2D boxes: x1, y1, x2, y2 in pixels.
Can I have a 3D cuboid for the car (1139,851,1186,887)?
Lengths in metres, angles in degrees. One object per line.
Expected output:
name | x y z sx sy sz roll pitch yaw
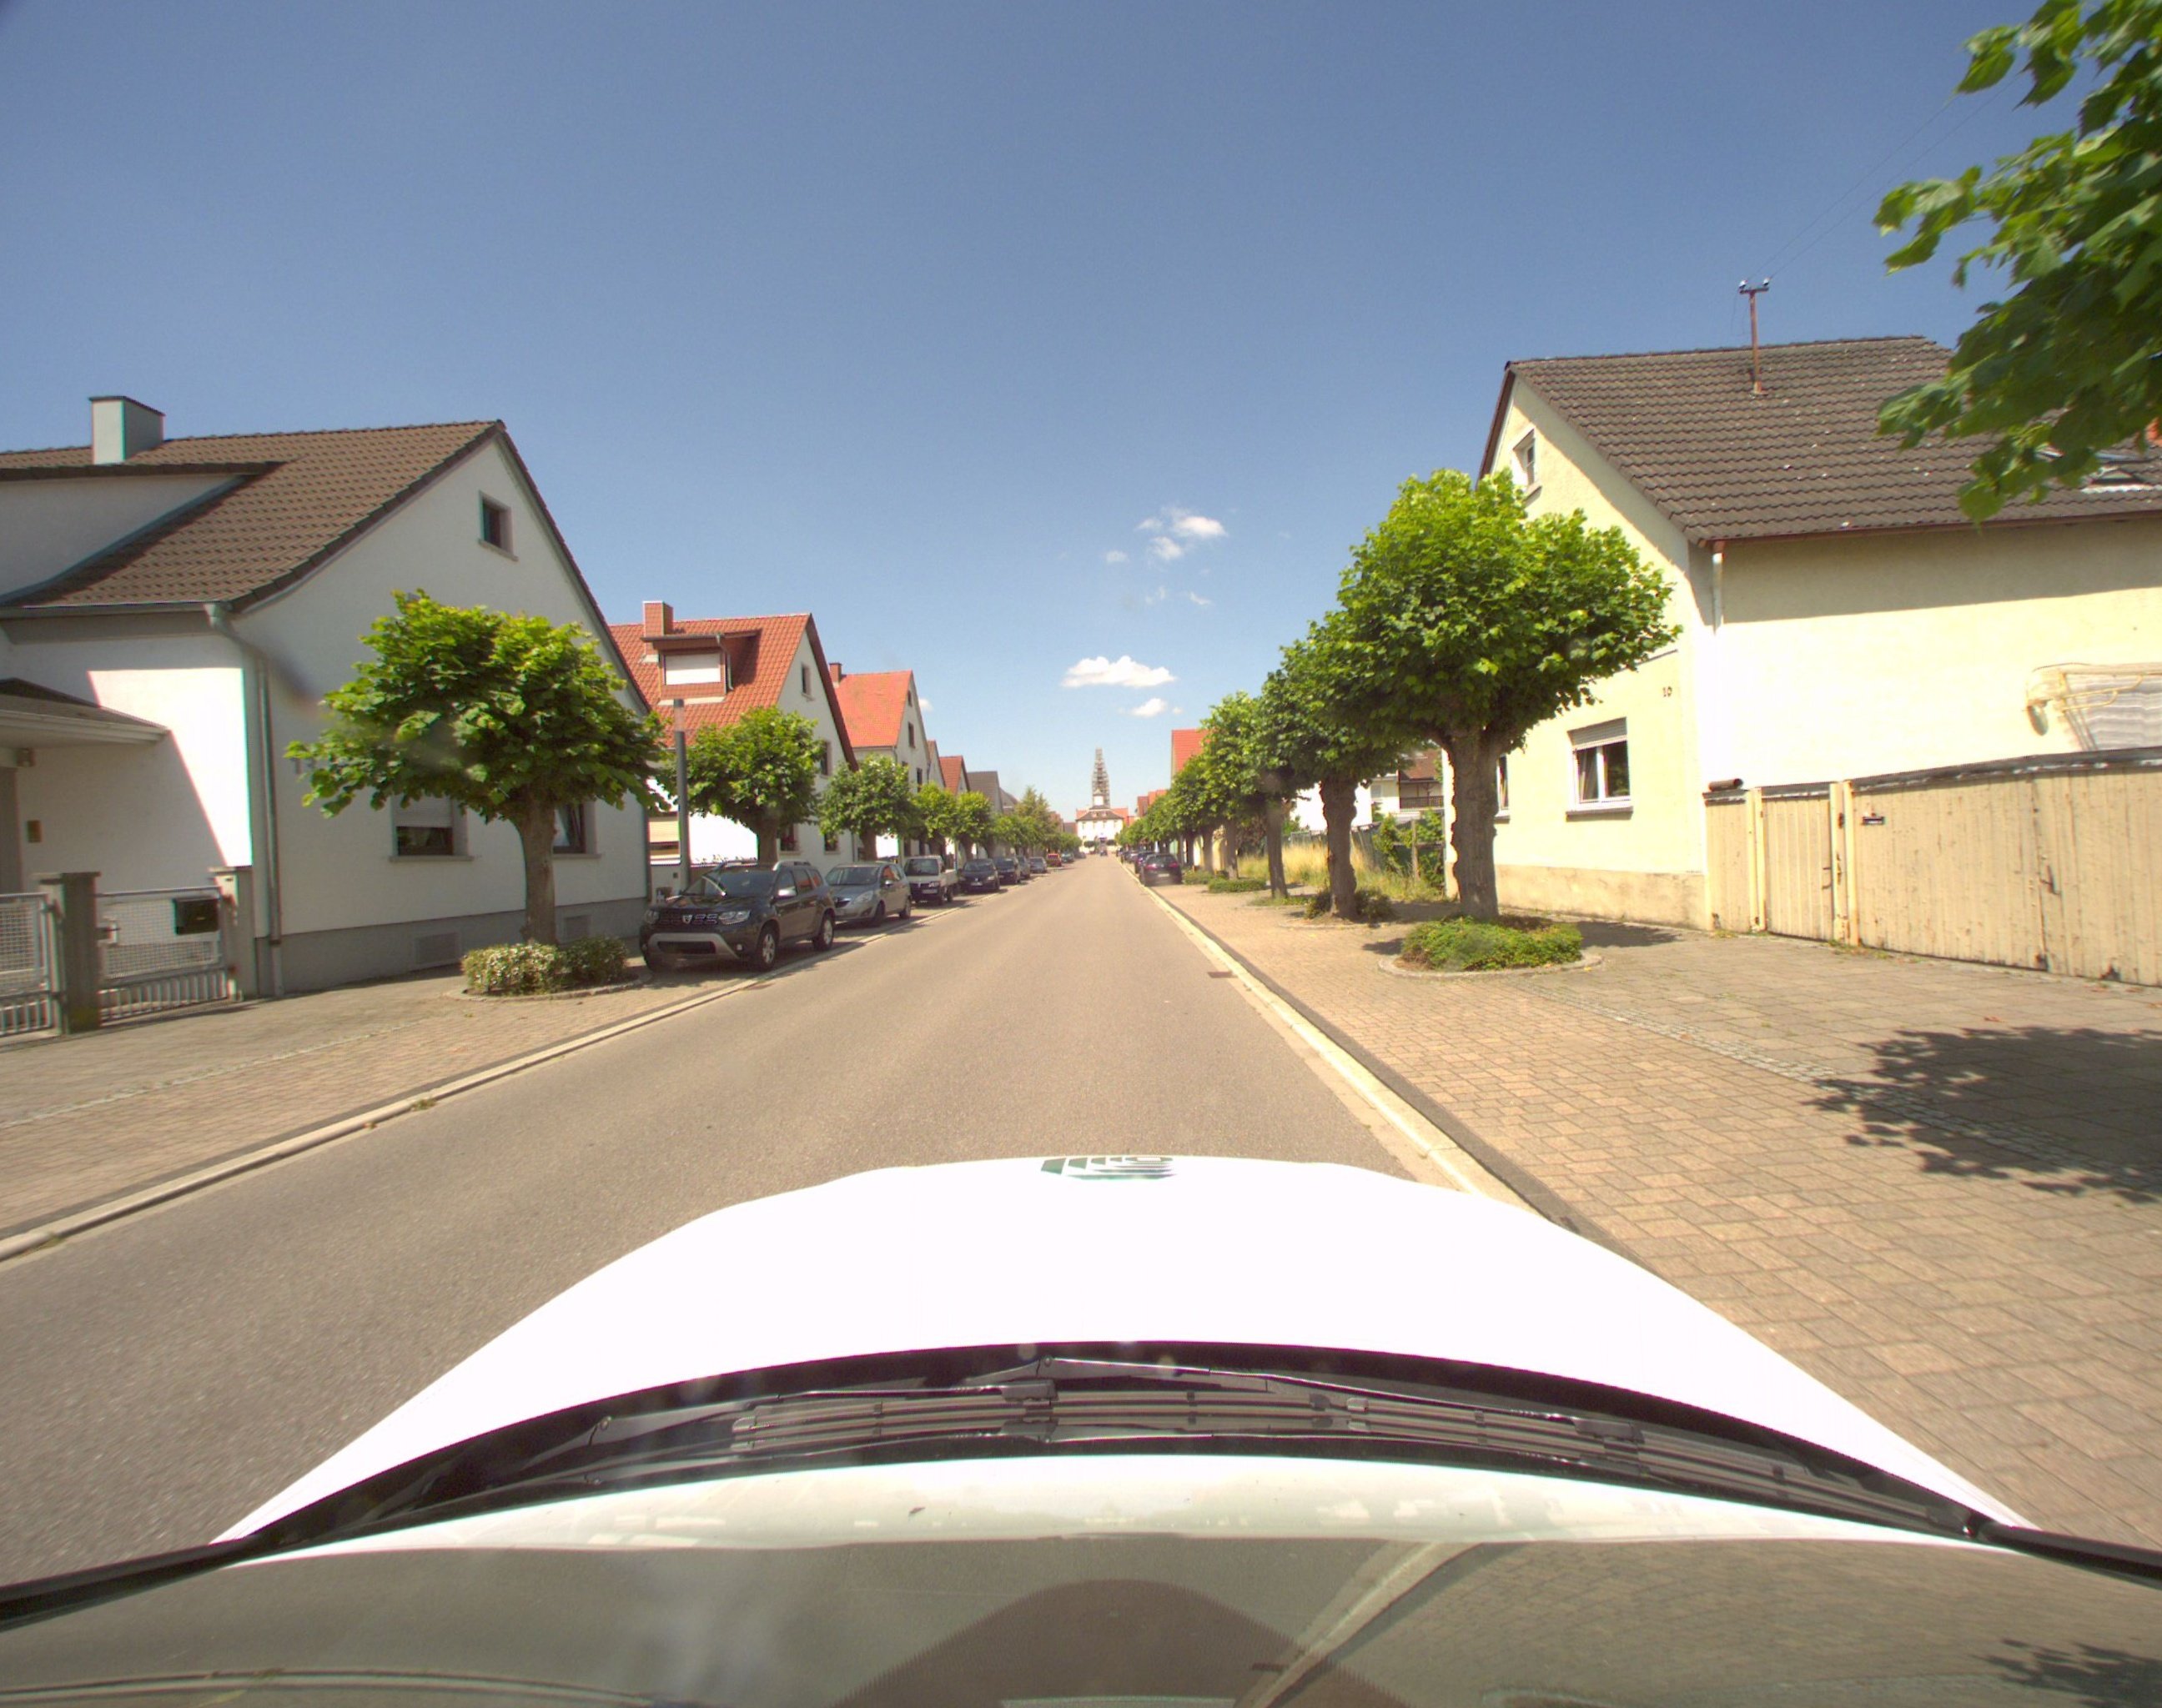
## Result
car | 3.748 0.641 38.158 1.817 1.432 4.058 -5 0 2

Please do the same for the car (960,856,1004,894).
car | -4.570 0.922 37.977 1.782 1.634 3.995 -2 0 -4

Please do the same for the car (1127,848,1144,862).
car | 6.689 0.051 100.008 1.831 1.607 4.000 -3 0 0

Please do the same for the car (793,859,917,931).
car | -5.660 0.966 21.018 1.846 1.613 4.372 -1 0 2

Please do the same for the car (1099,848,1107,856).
car | 5.019 -0.451 183.628 1.723 1.547 3.457 -1 0 2

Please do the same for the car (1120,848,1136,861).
car | 6.170 0.035 107.697 1.831 1.555 4.315 -4 0 1

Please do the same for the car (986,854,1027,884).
car | -4.261 0.848 47.276 1.846 1.635 4.058 -1 0 2

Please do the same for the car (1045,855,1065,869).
car | -3.179 0.955 100.443 1.985 1.611 4.692 -1 0 3

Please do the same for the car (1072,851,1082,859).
car | -0.797 0.186 164.947 1.751 1.555 4.022 -3 0 2

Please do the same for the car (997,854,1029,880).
car | -4.643 0.862 56.094 1.988 1.652 4.364 0 0 -2

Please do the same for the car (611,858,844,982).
car | -5.558 0.934 13.507 1.846 1.636 4.301 -1 1 2

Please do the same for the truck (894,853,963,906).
truck | -5.458 0.851 29.581 1.570 1.765 4.194 -1 0 2

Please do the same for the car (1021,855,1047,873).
car | -4.003 0.858 70.391 1.834 1.396 4.407 -2 0 1

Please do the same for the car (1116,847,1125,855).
car | 8.276 -0.673 170.431 1.830 1.555 4.316 -4 0 2

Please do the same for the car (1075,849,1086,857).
car | -0.115 -0.114 170.679 1.985 1.611 3.858 -1 0 3

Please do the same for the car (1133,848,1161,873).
car | 4.818 0.415 59.235 1.815 1.586 4.063 -4 0 6

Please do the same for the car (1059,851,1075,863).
car | -2.035 0.459 121.946 1.985 1.611 4.693 -2 1 3
